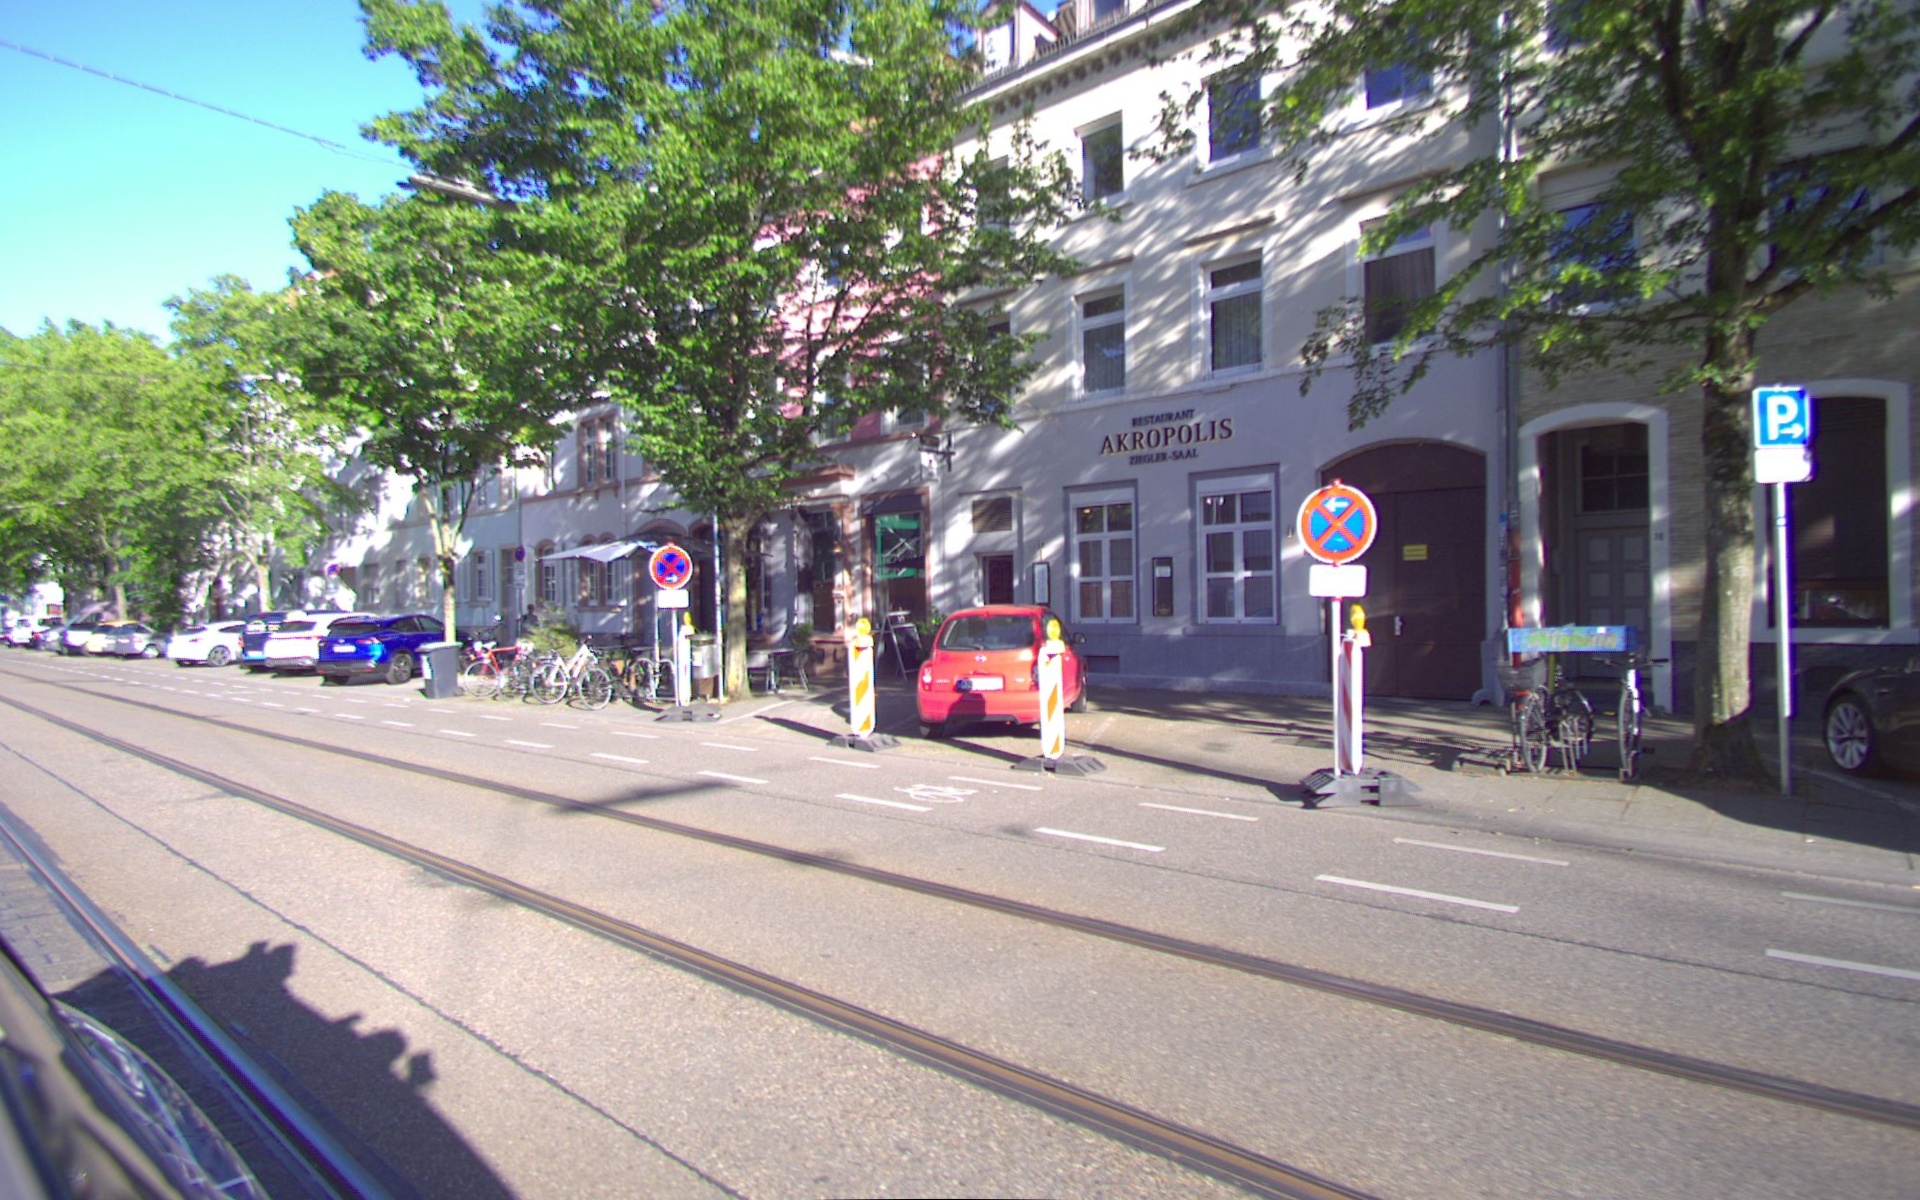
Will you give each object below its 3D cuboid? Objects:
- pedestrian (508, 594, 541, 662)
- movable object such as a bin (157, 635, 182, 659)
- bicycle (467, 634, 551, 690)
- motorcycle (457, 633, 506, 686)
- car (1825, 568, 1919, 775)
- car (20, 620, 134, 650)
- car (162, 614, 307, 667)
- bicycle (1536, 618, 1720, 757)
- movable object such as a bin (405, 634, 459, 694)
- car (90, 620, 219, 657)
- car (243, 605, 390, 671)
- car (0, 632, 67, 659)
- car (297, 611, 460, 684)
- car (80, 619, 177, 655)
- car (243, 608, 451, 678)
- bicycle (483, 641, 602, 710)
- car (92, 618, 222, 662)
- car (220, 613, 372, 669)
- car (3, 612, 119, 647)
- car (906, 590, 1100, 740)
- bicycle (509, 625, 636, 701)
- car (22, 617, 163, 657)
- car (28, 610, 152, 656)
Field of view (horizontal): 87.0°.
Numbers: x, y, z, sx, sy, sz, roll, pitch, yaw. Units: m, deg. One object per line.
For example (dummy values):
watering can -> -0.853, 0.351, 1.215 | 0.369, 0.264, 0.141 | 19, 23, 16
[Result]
pedestrian -> -11.993, 0.759, 27.847 | 0.624, 1.852, 0.636 | -2, -2, 42
movable object such as a bin -> -31.304, 1.865, 40.077 | 0.669, 0.952, 0.615 | -1, -3, 40
bicycle -> -8.974, 1.218, 20.194 | 0.387, 0.995, 1.588 | -2, 0, 30
motorcycle -> -11.885, 1.445, 25.225 | 0.714, 1.263, 2.607 | 0, -2, -17
car -> 7.660, 0.512, 6.147 | 1.925, 1.502, 4.184 | -2, 0, 14
car -> -51.094, 2.009, 58.638 | 1.948, 1.588, 4.658 | -1, -1, 32
car -> -24.877, 1.343, 34.831 | 1.873, 1.541, 3.623 | -1, 2, 21
bicycle -> 5.782, 0.715, 8.861 | 0.328, 1.104, 1.597 | 0, -2, -9
movable object such as a bin -> -10.208, 1.222, 19.563 | 0.710, 1.086, 0.676 | -2, 1, 42
car -> -35.387, 1.688, 44.606 | 1.693, 1.564, 4.136 | -1, -2, 25
car -> -19.260, 1.098, 30.429 | 1.719, 1.857, 3.424 | -1, -1, 19
car -> -61.150, 2.958, 66.137 | 1.762, 1.570, 3.987 | -1, 0, 11
car -> -14.115, 1.101, 24.810 | 1.553, 1.621, 3.897 | -1, -1, 4
car -> -38.074, 1.662, 46.442 | 1.369, 1.565, 3.364 | -1, -1, 10
car -> -17.188, 1.149, 28.724 | 2.189, 1.808, 4.916 | -1, -1, 15
bicycle -> -7.772, 1.383, 18.912 | 0.568, 1.087, 1.946 | -2, 1, 43
car -> -33.627, 1.642, 42.512 | 1.690, 1.689, 3.972 | -1, -1, 21
car -> -21.341, 1.276, 32.723 | 1.792, 1.669, 3.983 | -1, -1, 13
car -> -54.282, 1.754, 61.212 | 2.057, 2.029, 4.912 | -1, -1, 17
car -> 0.685, 0.704, 12.725 | 1.653, 1.565, 3.608 | -3, 0, 15
bicycle -> -6.846, 1.084, 17.965 | 0.567, 1.095, 1.981 | -2, 3, 43
car -> -40.999, 1.705, 47.912 | 2.161, 1.737, 4.782 | -2, -1, 38
car -> -43.082, 1.588, 50.189 | 2.161, 2.134, 4.393 | -2, -1, 38
